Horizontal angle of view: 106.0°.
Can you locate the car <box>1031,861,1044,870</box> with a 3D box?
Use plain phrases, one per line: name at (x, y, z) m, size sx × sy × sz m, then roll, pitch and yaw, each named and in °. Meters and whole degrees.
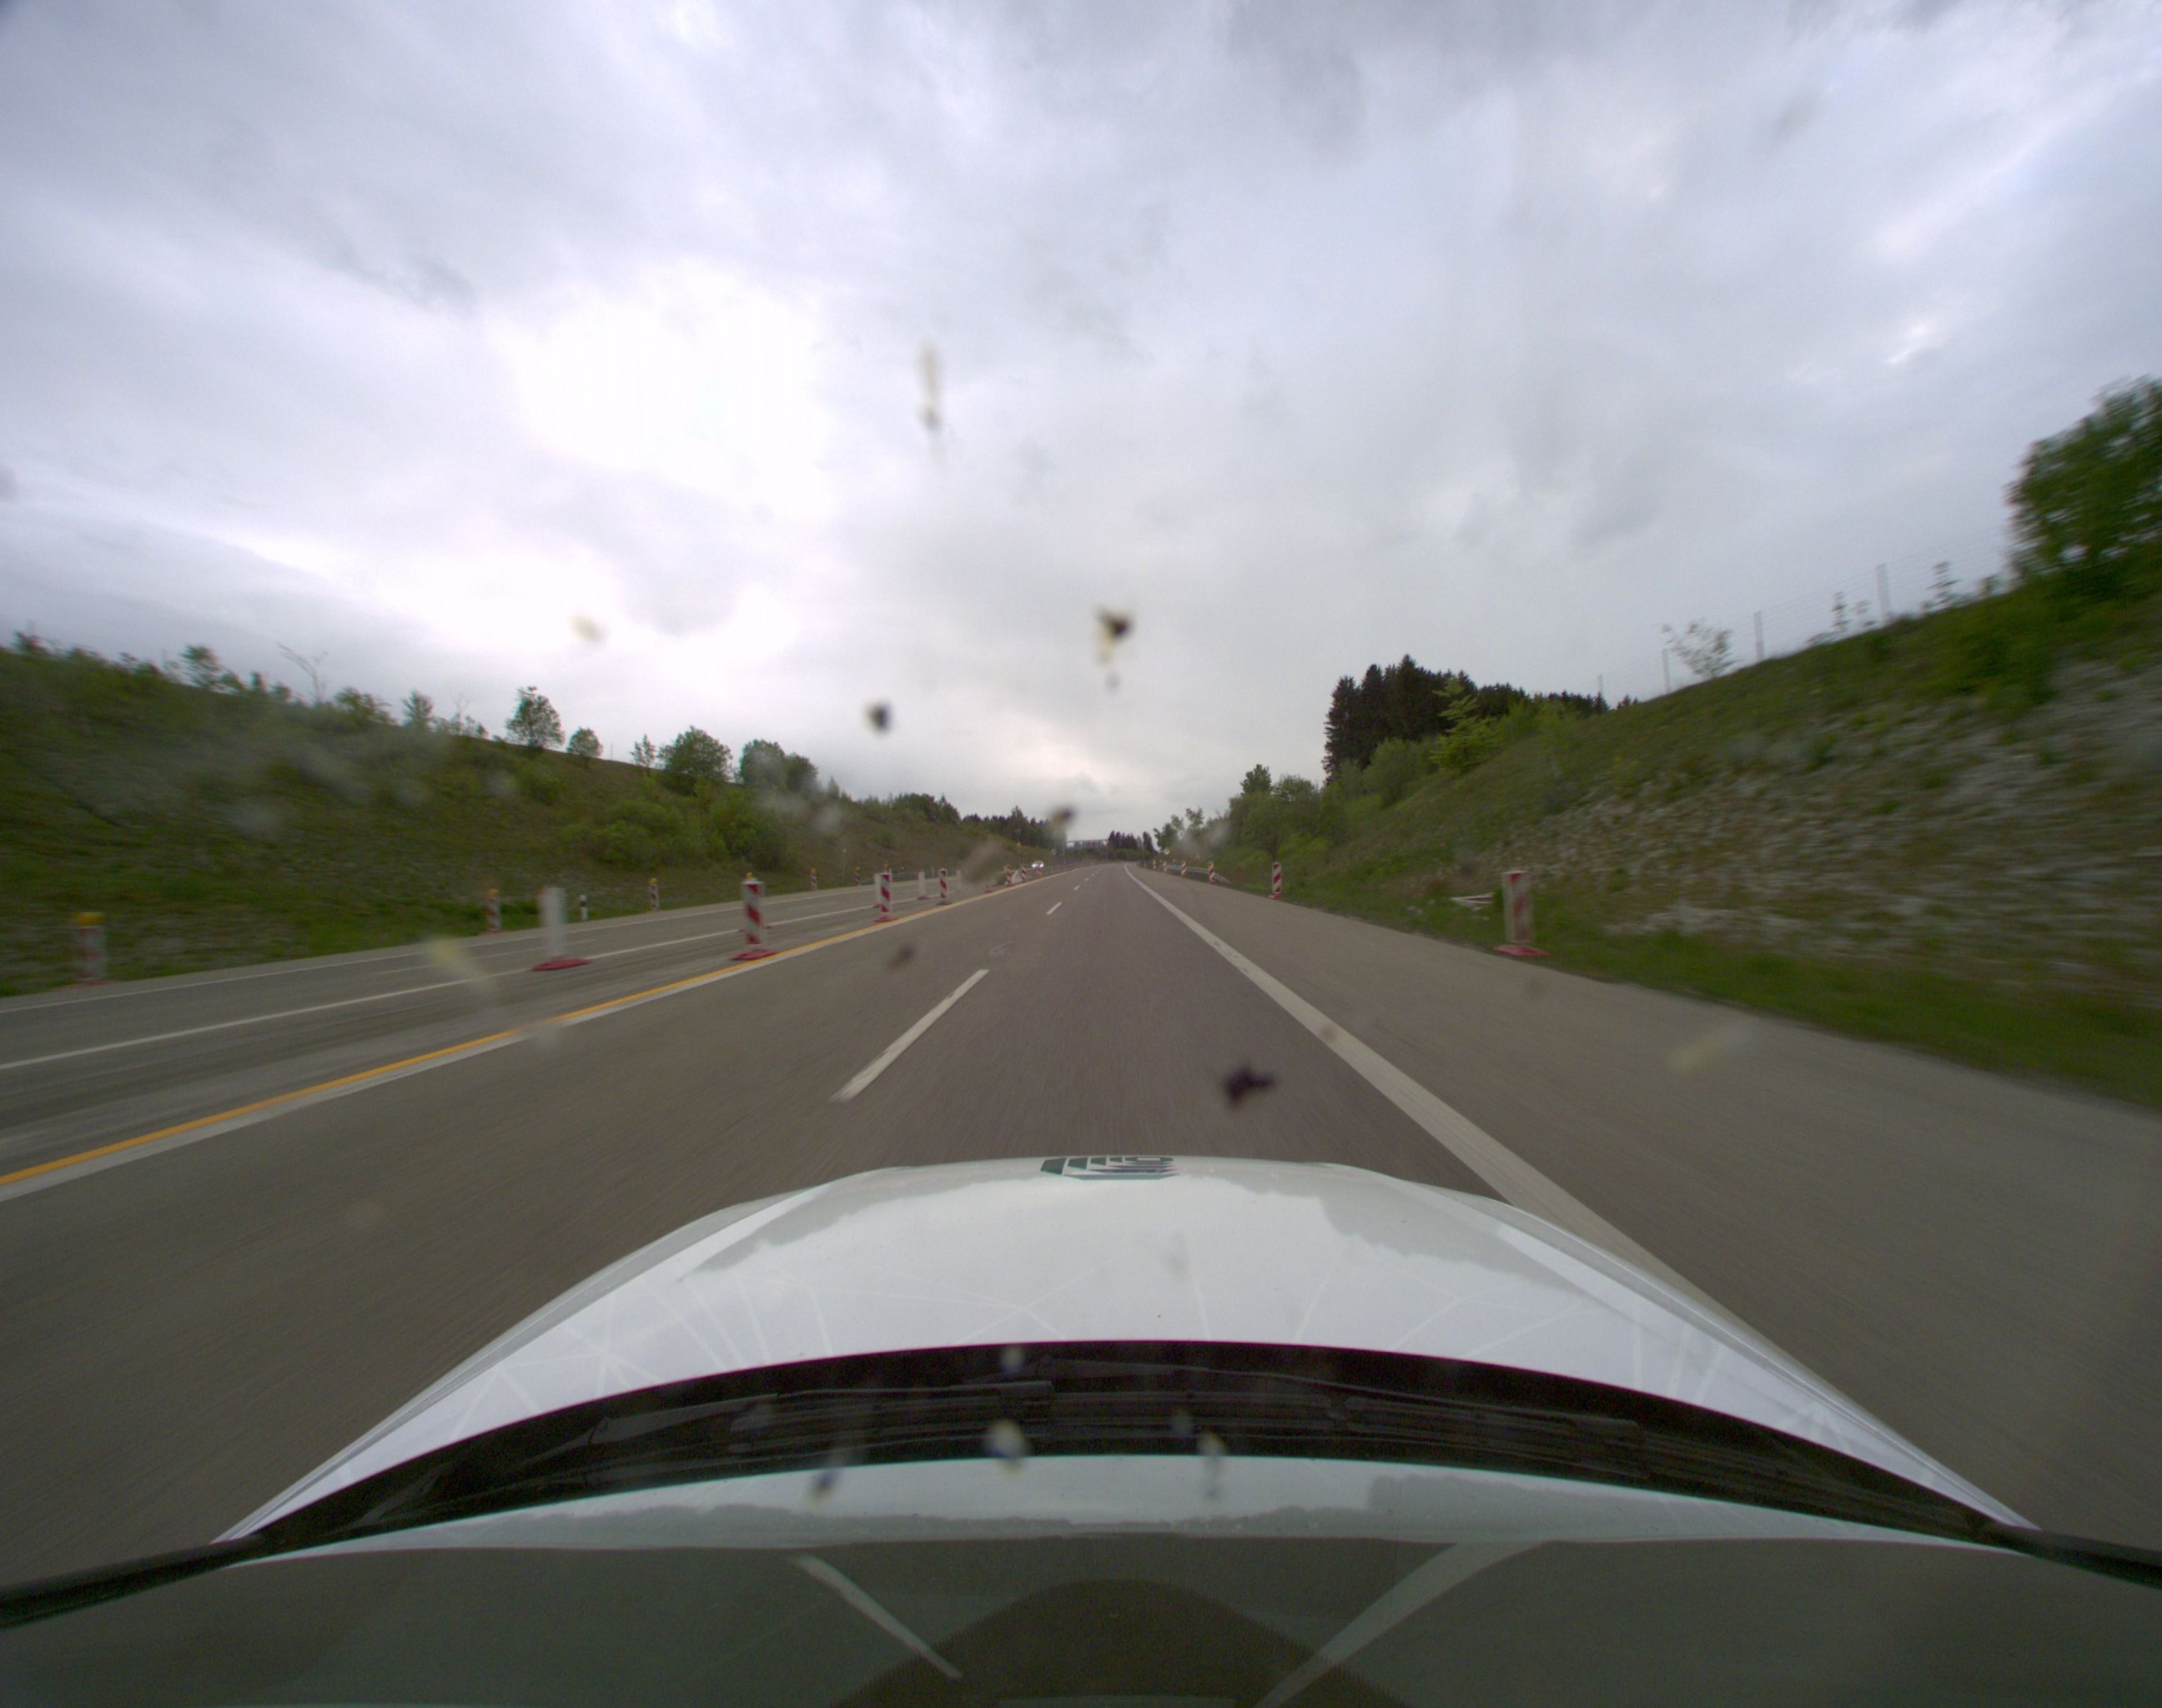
car at (-7.989, 2.121, 150.025) m, size 1.907 × 1.601 × 4.168 m, roll -2°, pitch -1°, yaw 2°
